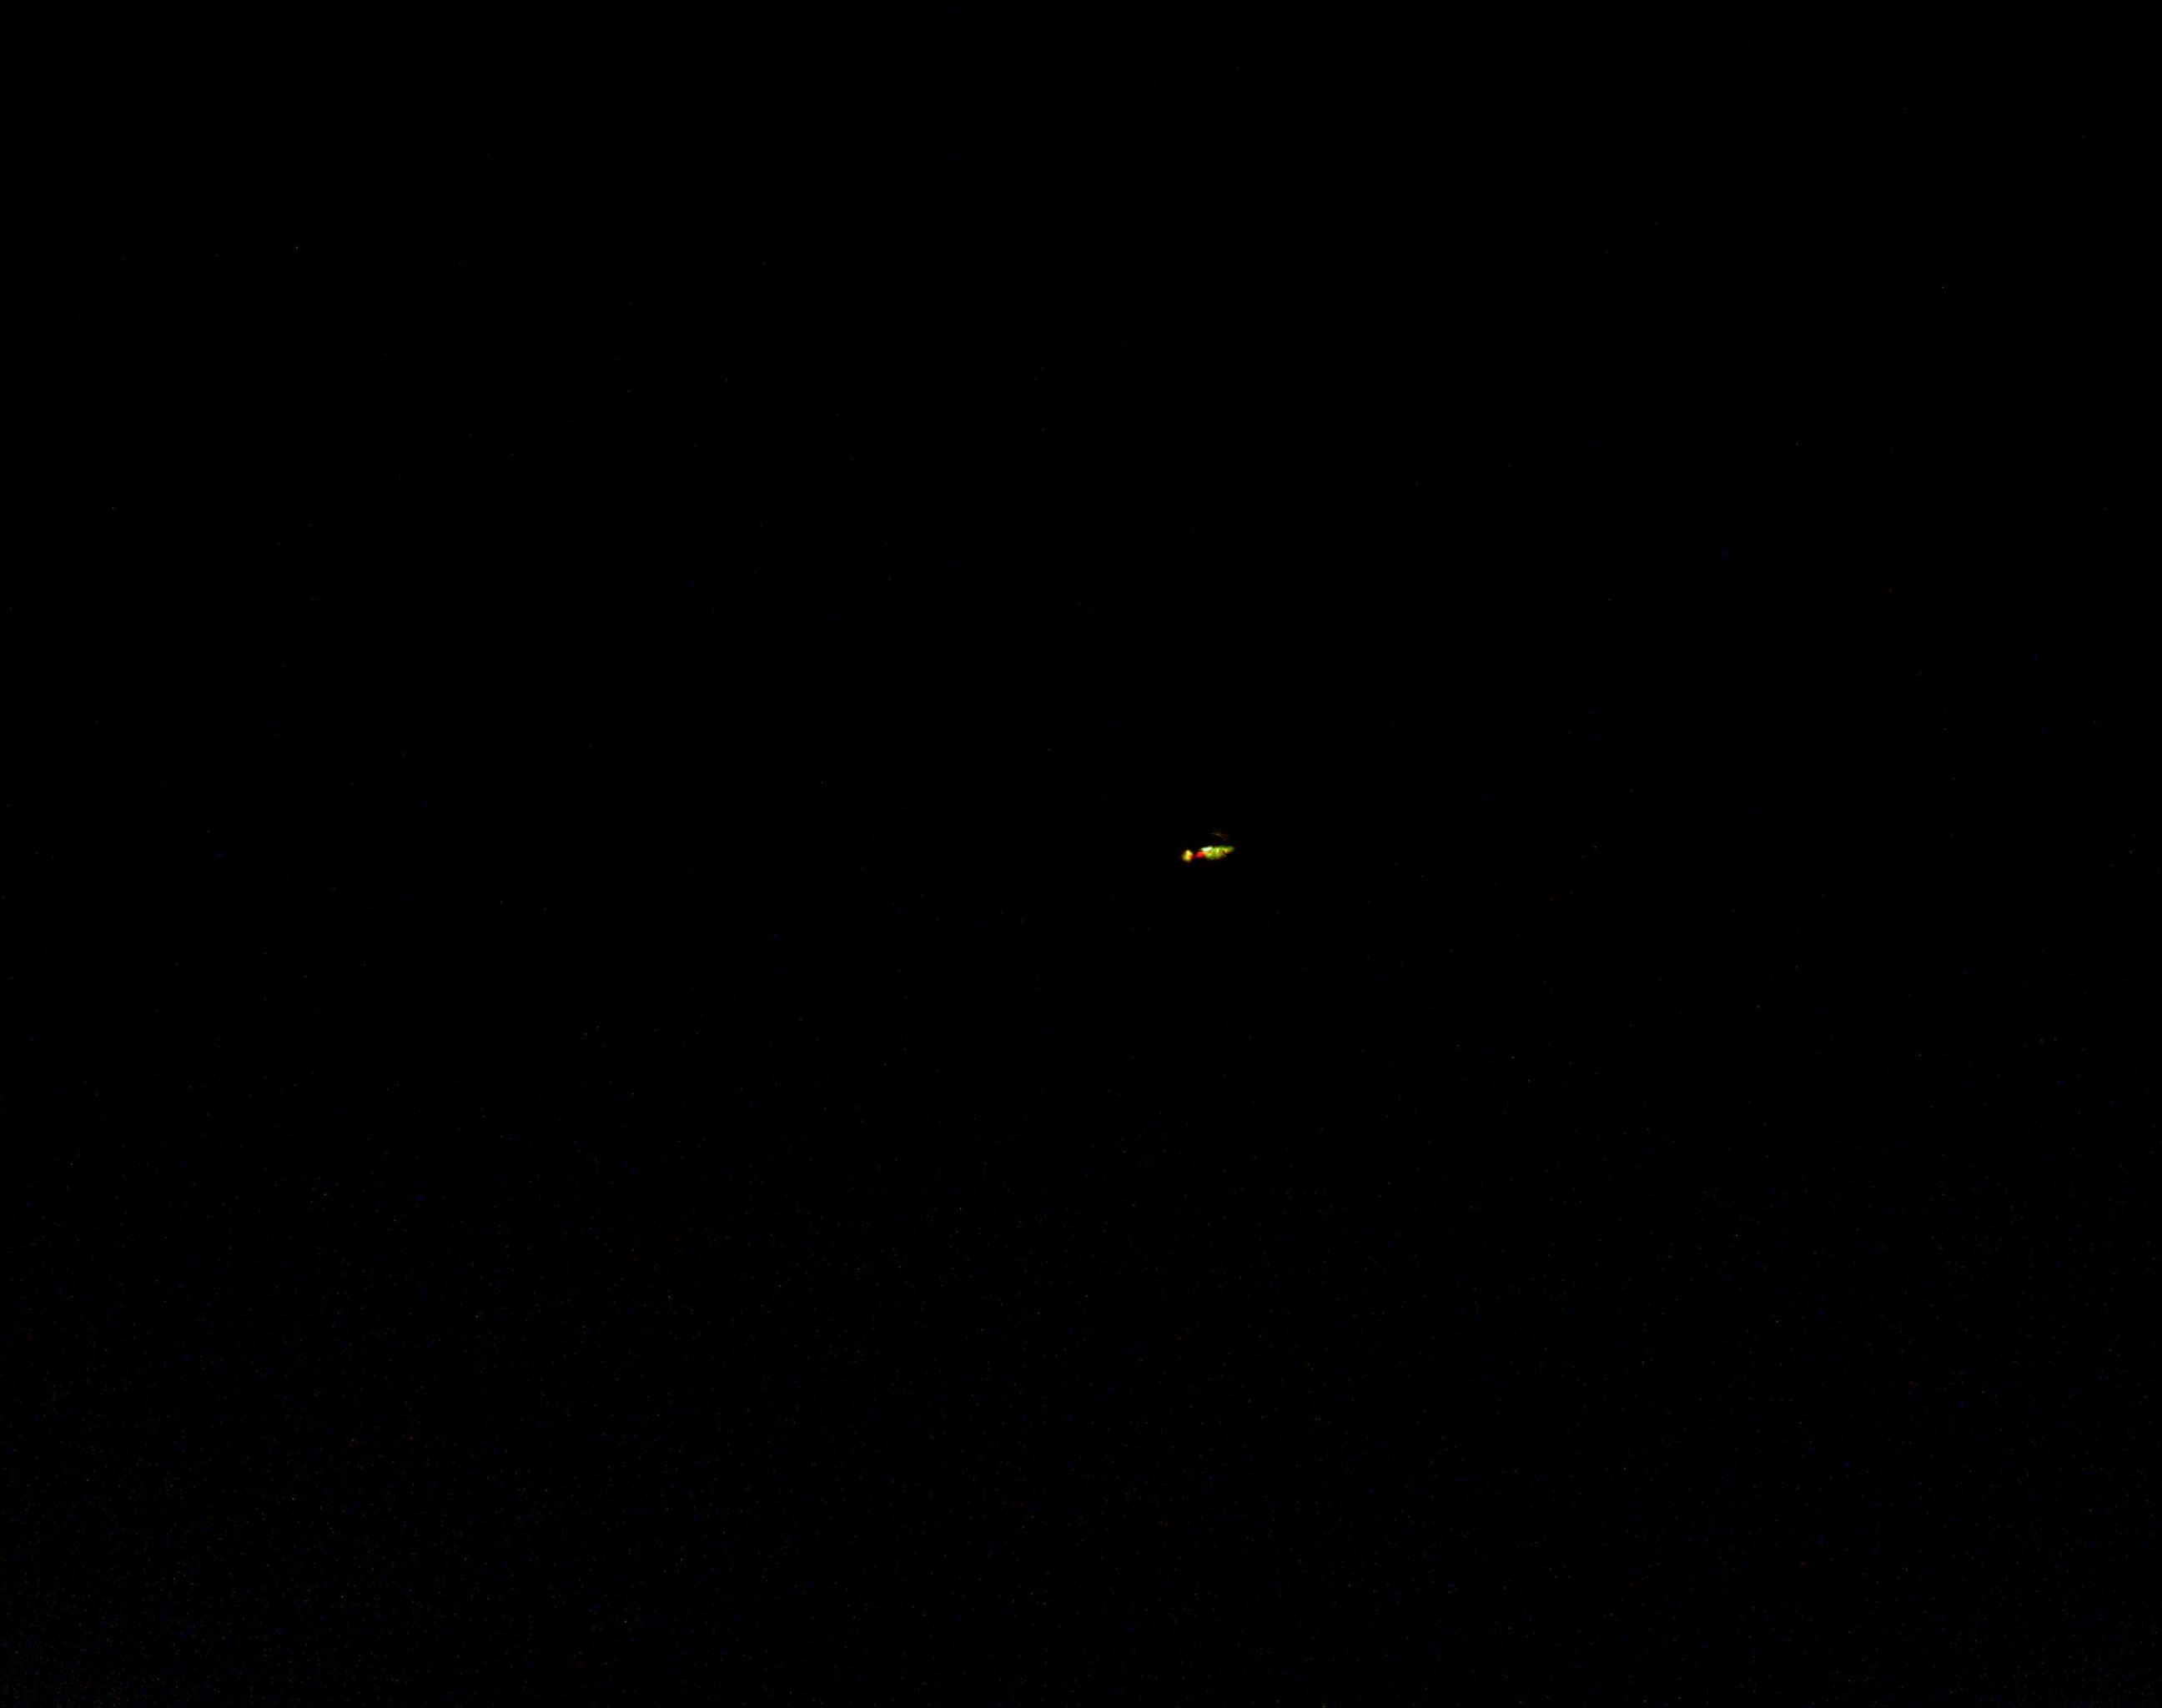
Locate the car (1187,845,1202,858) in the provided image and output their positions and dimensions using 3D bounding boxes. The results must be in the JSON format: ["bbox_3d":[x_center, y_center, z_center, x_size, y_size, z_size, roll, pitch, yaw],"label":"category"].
[{"bbox_3d":[15.873,-0.361,106.174,1.863,1.737,4.965,-1,1,10],"label":"car"}]

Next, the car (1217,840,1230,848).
[{"bbox_3d":[27.701,-1.957,147.967,1.773,1.381,4.238,-1,1,20],"label":"car"}]

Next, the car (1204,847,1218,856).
[{"bbox_3d":[22.172,-0.437,129.670,1.773,1.381,4.040,-1,1,19],"label":"car"}]

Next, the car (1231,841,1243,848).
[{"bbox_3d":[33.396,-1.947,162.686,1.773,1.381,4.238,-1,1,22],"label":"car"}]
